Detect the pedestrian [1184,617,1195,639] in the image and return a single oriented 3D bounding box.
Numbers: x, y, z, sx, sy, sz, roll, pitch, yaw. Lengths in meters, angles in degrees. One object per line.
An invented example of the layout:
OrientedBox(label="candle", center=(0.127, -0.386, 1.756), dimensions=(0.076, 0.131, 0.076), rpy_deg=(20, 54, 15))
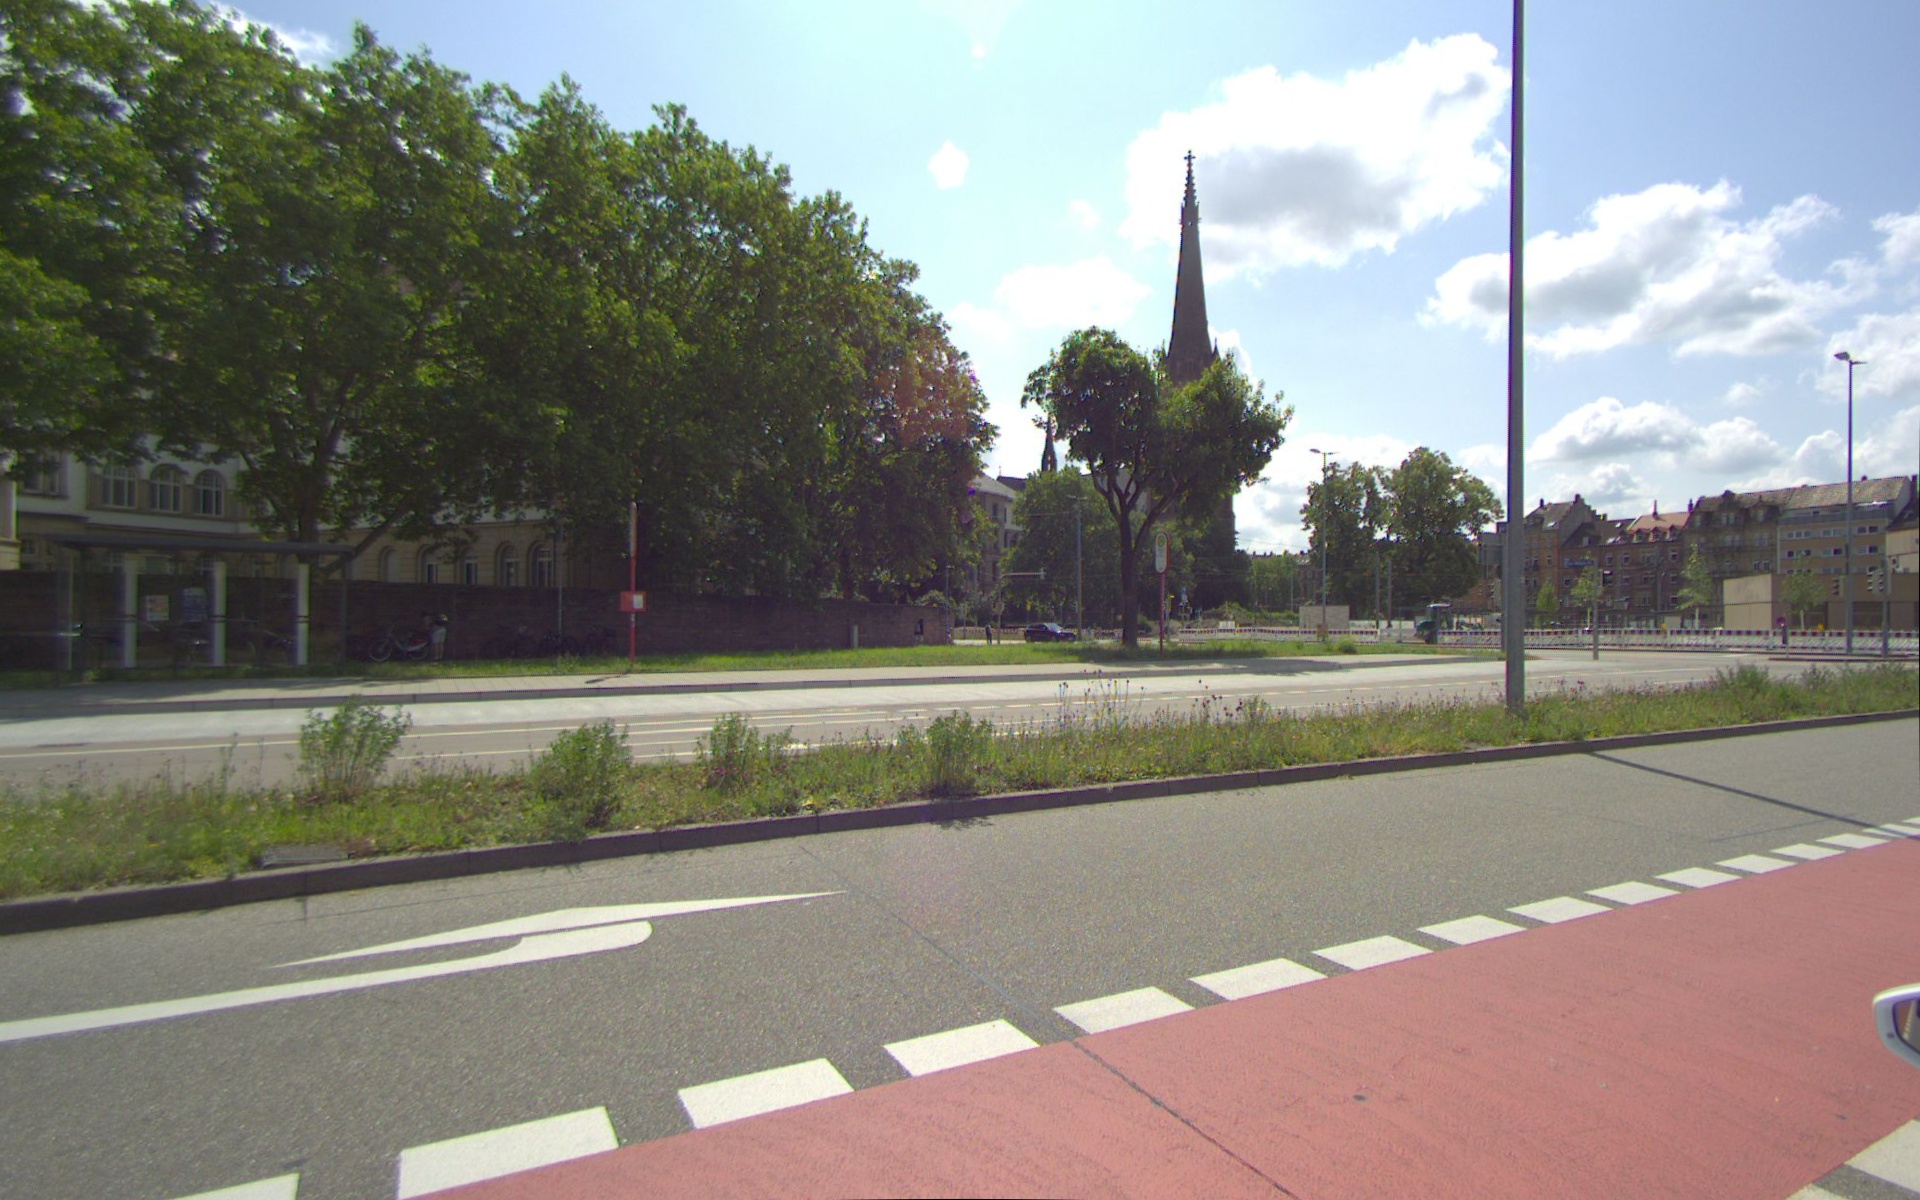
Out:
OrientedBox(label="pedestrian", center=(20.709, 2.518, 90.637), dimensions=(0.642, 2.040, 0.626), rpy_deg=(1, -1, -35))

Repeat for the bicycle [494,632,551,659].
OrientedBox(label="bicycle", center=(-14.009, 1.460, 32.205), dimensions=(0.378, 0.828, 1.743), rpy_deg=(0, -1, 36))

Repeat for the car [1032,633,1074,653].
OrientedBox(label="car", center=(7.054, 3.243, 76.353), dimensions=(1.487, 1.416, 3.444), rpy_deg=(1, -1, -31))

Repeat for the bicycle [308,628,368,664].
OrientedBox(label="bicycle", center=(-17.149, 1.263, 27.722), dimensions=(0.260, 0.977, 1.391), rpy_deg=(0, -1, 36))

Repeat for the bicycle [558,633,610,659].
OrientedBox(label="bicycle", center=(-12.770, 1.548, 34.160), dimensions=(0.324, 0.828, 1.743), rpy_deg=(0, -1, 36))

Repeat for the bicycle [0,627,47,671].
OrientedBox(label="bicycle", center=(-21.247, 1.088, 22.331), dimensions=(0.260, 0.977, 1.391), rpy_deg=(0, -1, 36))

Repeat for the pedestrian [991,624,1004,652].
OrientedBox(label="pedestrian", center=(2.778, 2.829, 74.776), dimensions=(0.713, 2.040, 0.721), rpy_deg=(1, -1, -32))

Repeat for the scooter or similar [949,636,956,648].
OrientedBox(label="scooter or similar", center=(-0.426, 2.472, 58.988), dimensions=(0.117, 0.721, 1.005), rpy_deg=(0, -1, 17))

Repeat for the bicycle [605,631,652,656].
OrientedBox(label="bicycle", center=(-11.765, 1.532, 35.687), dimensions=(0.324, 0.828, 1.743), rpy_deg=(0, -1, 36))

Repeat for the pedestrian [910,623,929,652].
OrientedBox(label="pedestrian", center=(-2.048, 1.895, 50.896), dimensions=(0.706, 1.413, 0.728), rpy_deg=(0, -1, 22))

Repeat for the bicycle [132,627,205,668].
OrientedBox(label="bicycle", center=(-19.407, 1.155, 24.651), dimensions=(0.260, 0.977, 1.391), rpy_deg=(0, -1, 36))

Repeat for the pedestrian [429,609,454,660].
OrientedBox(label="pedestrian", center=(-15.195, 1.002, 29.436), dimensions=(0.627, 1.492, 0.506), rpy_deg=(1, -1, -32))

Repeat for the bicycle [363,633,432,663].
OrientedBox(label="bicycle", center=(-16.229, 1.377, 29.019), dimensions=(0.324, 0.828, 1.743), rpy_deg=(0, -1, 36))
